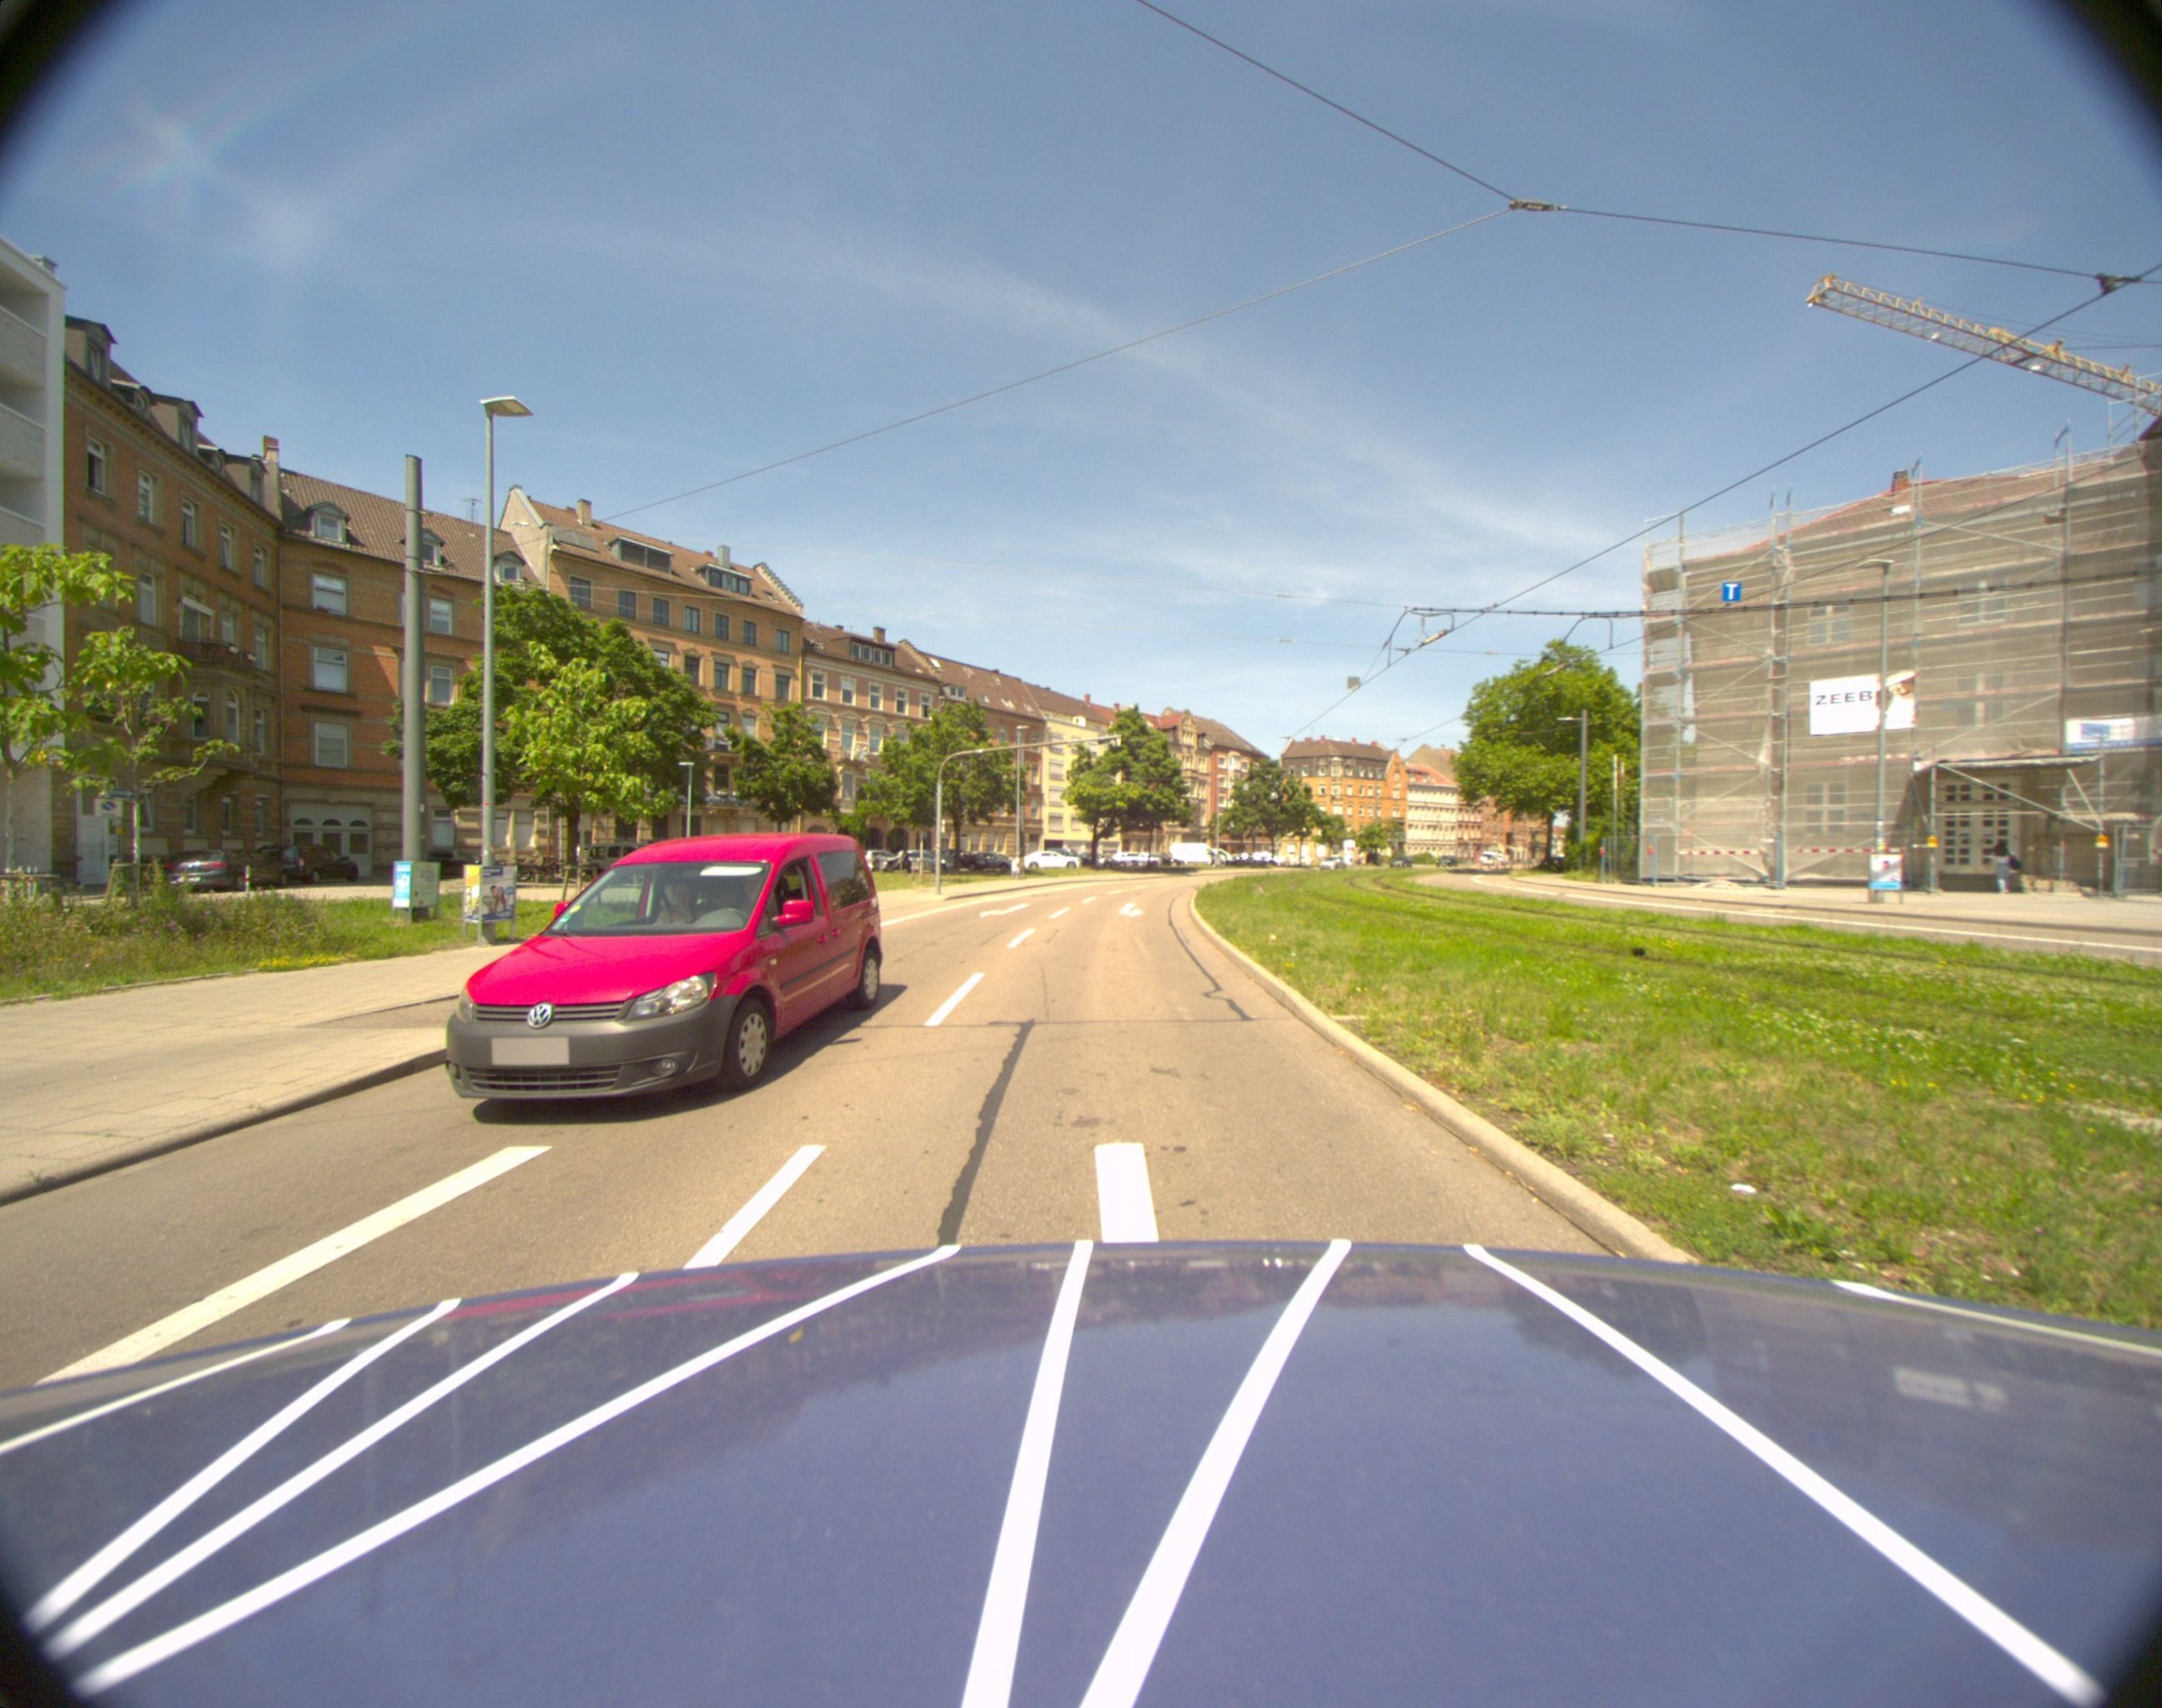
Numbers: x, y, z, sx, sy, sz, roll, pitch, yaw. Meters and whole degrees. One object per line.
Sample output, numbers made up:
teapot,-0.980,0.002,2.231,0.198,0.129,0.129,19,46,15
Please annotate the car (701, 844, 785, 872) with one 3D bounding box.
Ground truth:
car,-18.158,0.213,40.816,3.862,1.424,1.609,-1,0,10

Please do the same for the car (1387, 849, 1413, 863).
car,39.063,0.234,92.965,1.796,1.564,4.009,-1,0,41

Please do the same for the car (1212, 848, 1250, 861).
car,16.673,0.051,84.531,3.991,1.378,1.826,-1,0,18

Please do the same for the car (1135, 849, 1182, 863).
car,7.421,0.214,73.228,4.427,1.330,1.973,-1,0,3

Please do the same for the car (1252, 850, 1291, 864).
car,23.110,0.356,92.133,4.403,1.622,2.003,-1,0,17

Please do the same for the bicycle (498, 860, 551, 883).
bicycle,-23.907,0.754,32.642,2.047,0.930,0.509,-1,0,9

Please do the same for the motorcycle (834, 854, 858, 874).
motorcycle,-14.481,0.621,46.853,0.814,1.229,2.080,-1,0,-35

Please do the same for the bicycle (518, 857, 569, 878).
bicycle,-23.997,0.608,33.933,2.047,0.930,0.509,-1,0,9

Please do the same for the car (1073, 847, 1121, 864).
car,1.391,0.164,65.413,3.996,1.392,1.713,-1,0,3

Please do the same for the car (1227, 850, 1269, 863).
car,19.159,0.297,87.313,4.624,1.488,1.968,-1,0,15

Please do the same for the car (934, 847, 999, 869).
car,-8.012,0.281,53.404,4.085,1.461,1.800,-1,0,12

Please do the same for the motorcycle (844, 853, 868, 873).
motorcycle,-12.680,0.500,42.847,1.521,1.113,0.479,-1,0,39

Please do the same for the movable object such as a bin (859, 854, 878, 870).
movable object such as a bin,-12.696,0.475,45.384,0.703,0.931,0.986,-1,0,-39

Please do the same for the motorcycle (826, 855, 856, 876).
motorcycle,-13.301,0.633,42.023,1.823,1.113,0.529,-1,0,32

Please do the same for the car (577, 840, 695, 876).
car,-21.168,0.206,36.226,4.866,1.591,1.838,-1,0,12

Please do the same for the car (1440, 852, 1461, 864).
car,50.890,0.577,104.625,1.796,1.564,4.009,-1,0,38

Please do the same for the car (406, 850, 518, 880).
car,-30.790,0.513,37.884,1.772,1.411,4.009,-1,0,38

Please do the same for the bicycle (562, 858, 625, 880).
bicycle,-22.128,0.670,34.503,2.426,0.930,0.508,-1,0,-4

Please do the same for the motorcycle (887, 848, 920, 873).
motorcycle,-10.341,0.363,44.312,0.675,1.405,1.860,2,1,40

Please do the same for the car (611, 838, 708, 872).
car,-25.149,0.073,45.426,1.920,1.892,4.664,-1,0,39

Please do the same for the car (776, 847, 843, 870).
car,-19.075,0.305,53.433,1.837,1.521,4.009,-1,0,41

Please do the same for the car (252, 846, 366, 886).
car,-31.599,0.467,31.251,1.779,1.520,4.074,-1,0,-22

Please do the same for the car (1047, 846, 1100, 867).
car,-0.600,0.188,63.414,3.993,1.652,1.974,-1,0,12

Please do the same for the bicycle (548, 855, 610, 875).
bicycle,-23.164,0.517,35.087,2.426,0.930,0.508,0,1,-4

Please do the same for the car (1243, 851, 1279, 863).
car,21.214,0.344,89.567,3.991,1.391,1.826,-1,0,18

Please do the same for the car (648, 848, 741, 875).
car,-19.575,0.378,38.520,3.993,1.324,1.761,-1,0,12

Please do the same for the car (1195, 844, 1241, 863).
car,14.788,-0.006,82.220,4.840,1.961,2.078,-1,0,10

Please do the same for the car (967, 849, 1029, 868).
car,-6.039,0.332,55.153,3.992,1.305,1.975,-1,0,17

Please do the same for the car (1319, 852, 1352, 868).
car,25.869,0.571,77.109,1.796,1.564,4.009,-1,0,41

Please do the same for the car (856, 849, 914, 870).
car,-15.000,0.417,58.366,1.837,1.521,4.008,-1,0,37

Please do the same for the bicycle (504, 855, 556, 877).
bicycle,-24.168,0.509,33.325,2.047,0.930,0.509,-1,0,9

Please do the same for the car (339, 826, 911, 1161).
car,-3.090,0.794,6.763,1.859,1.823,5.167,-1,0,1

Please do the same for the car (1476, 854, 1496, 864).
car,65.928,0.854,123.700,1.796,1.564,4.008,-1,0,43

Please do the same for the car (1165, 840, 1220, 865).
car,11.627,-0.164,79.639,5.546,2.446,2.238,-1,0,3

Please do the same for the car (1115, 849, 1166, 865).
car,5.482,0.295,70.286,4.688,1.419,1.973,-1,0,3

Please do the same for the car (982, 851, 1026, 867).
car,-6.857,0.433,67.658,1.779,1.411,3.724,-1,0,38

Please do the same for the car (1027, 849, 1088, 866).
car,-1.868,0.305,60.809,4.785,1.305,2.149,-1,0,-2

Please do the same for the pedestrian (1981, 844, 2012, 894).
pedestrian,28.152,0.462,23.364,0.590,1.509,0.579,-1,0,-37

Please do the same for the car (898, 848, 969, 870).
car,-9.825,0.355,50.560,4.340,1.368,1.584,-1,0,13

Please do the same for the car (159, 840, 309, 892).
car,-28.481,0.382,25.749,1.697,1.615,4.123,-1,0,-21
